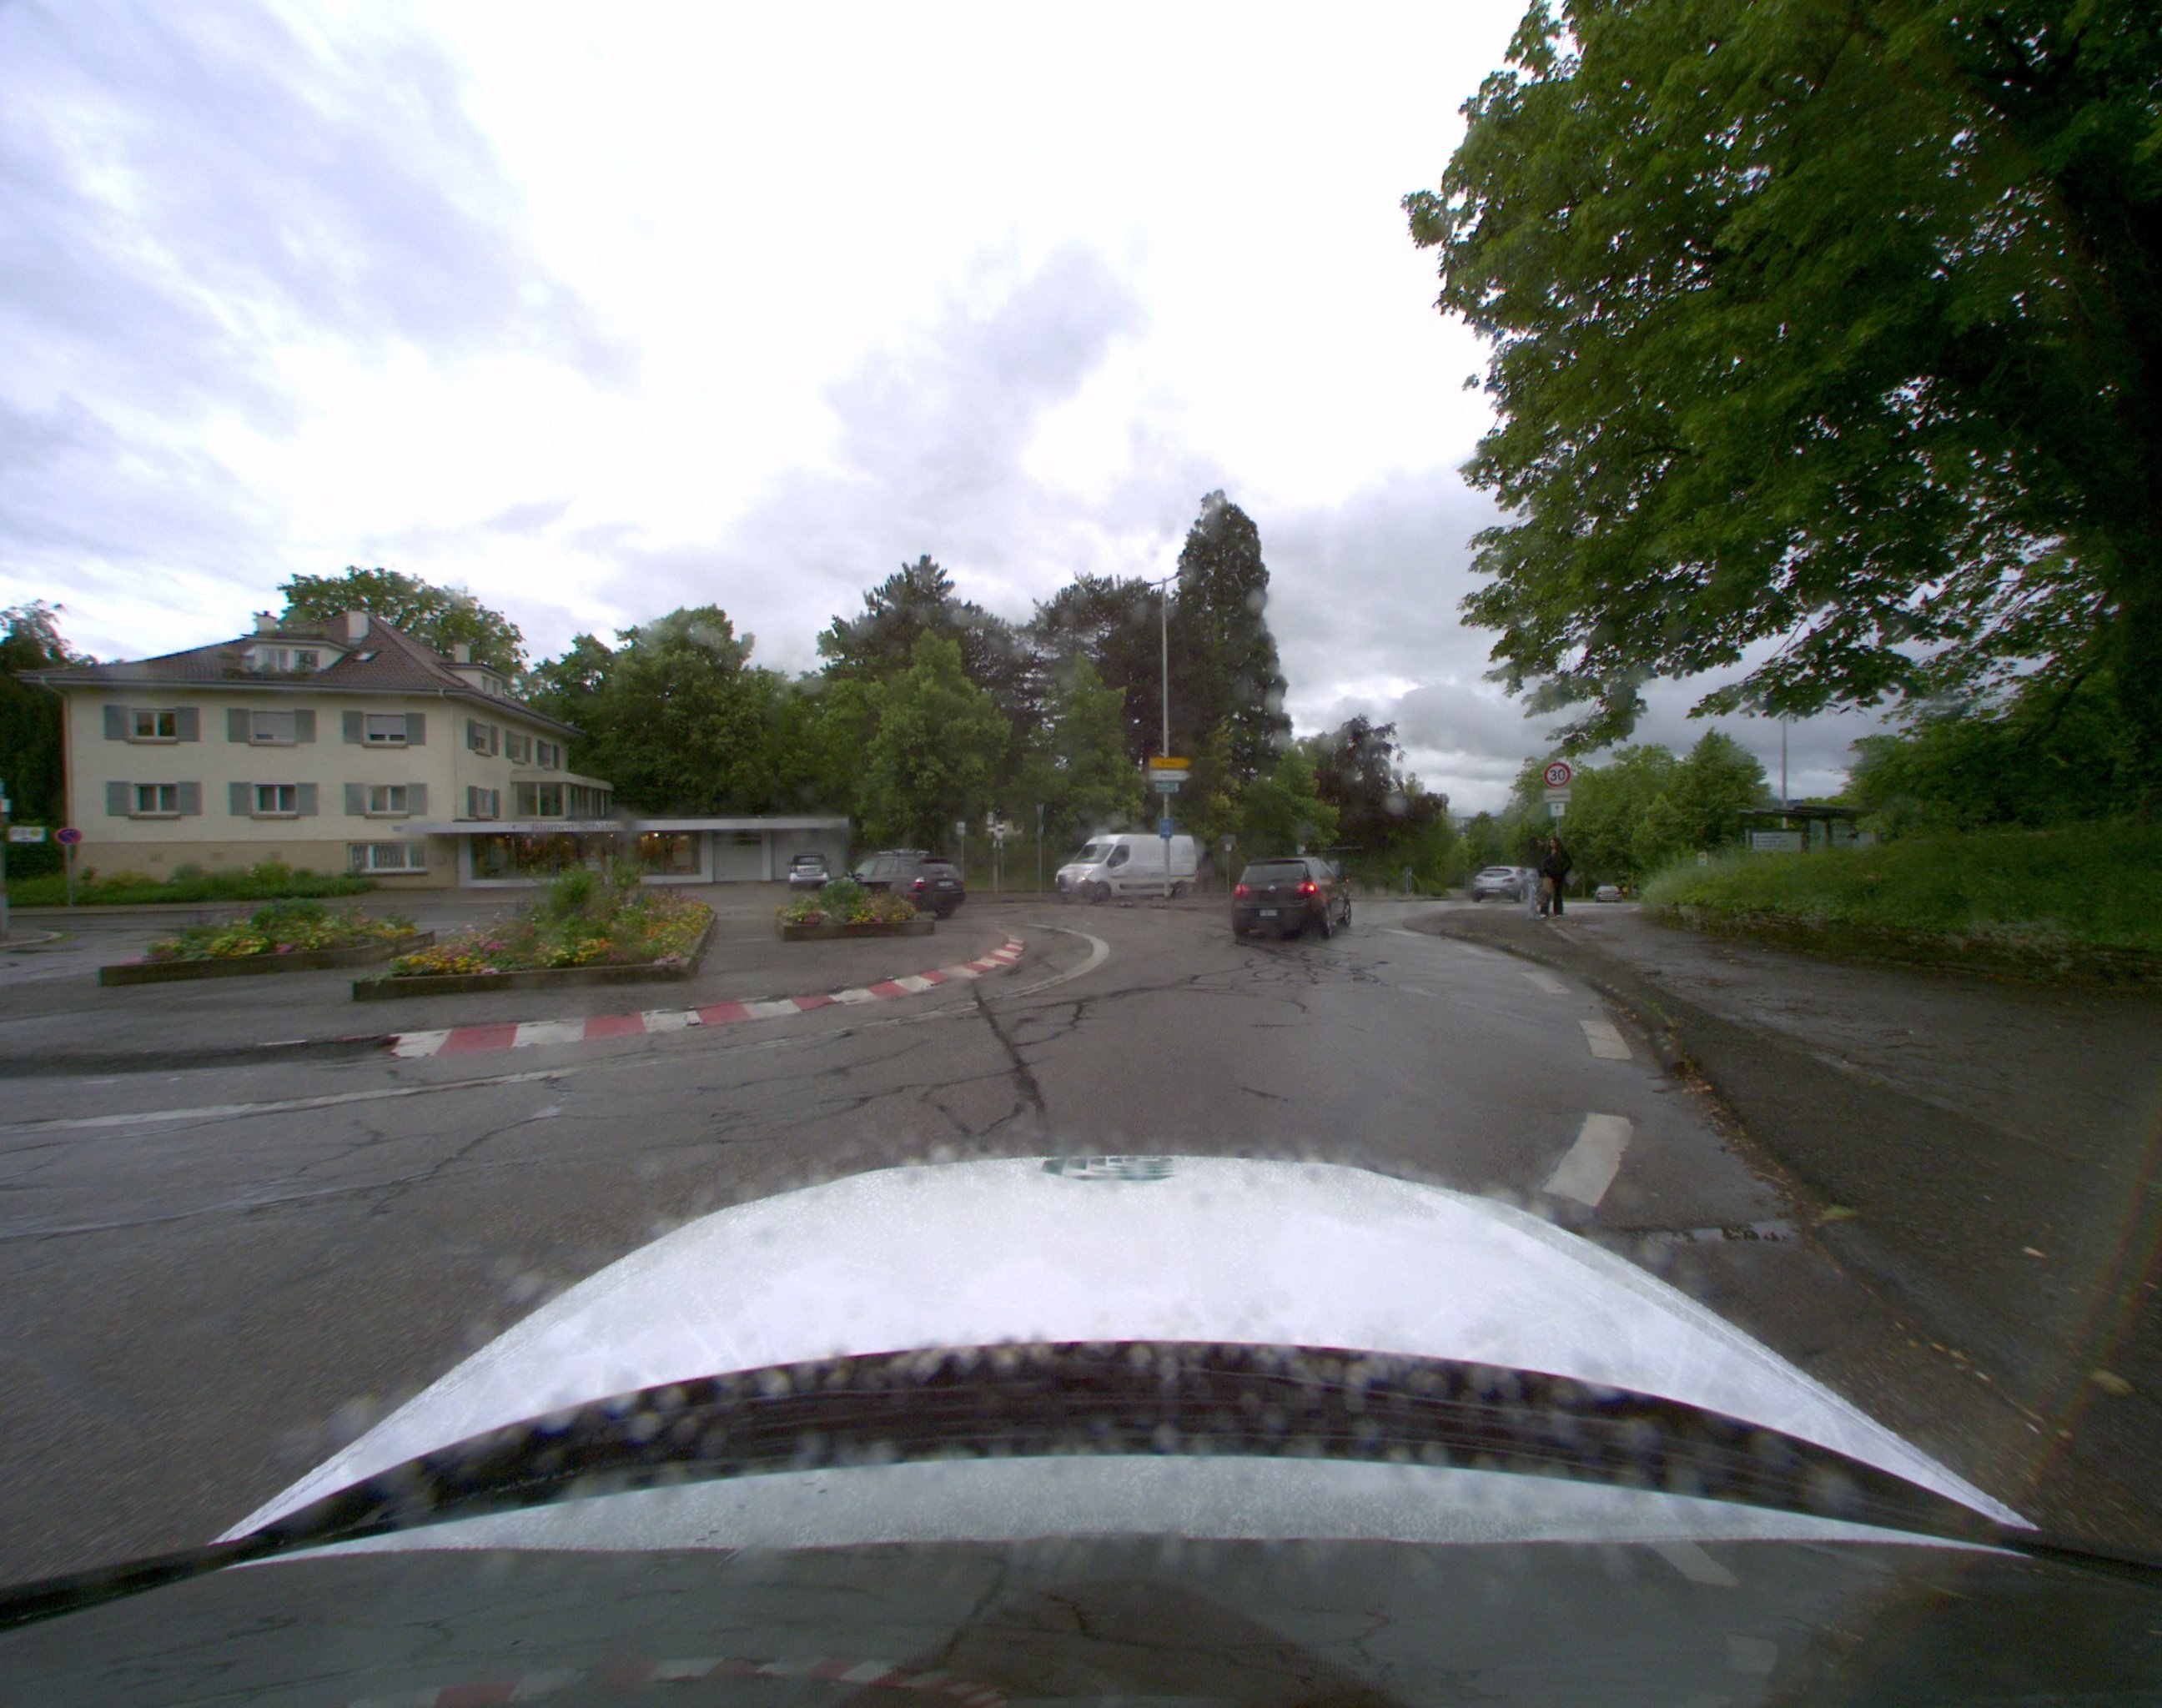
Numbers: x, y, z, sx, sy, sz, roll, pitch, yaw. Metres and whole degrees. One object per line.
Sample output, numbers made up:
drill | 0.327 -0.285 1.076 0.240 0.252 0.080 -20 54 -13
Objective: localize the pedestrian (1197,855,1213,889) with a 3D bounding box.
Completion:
pedestrian | 6.253 0.895 40.951 0.733 1.725 0.819 0 -1 12

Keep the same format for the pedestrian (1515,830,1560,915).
pedestrian | 9.406 0.368 16.788 0.530 1.713 0.631 1 -1 -23

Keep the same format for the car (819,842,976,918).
car | -4.929 0.687 21.608 4.191 1.801 1.782 -2 0 39

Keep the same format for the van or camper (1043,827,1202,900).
van or camper | 1.577 0.344 29.387 5.695 2.378 2.176 1 -1 -37

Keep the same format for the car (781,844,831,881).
car | -12.015 0.343 35.760 1.816 1.486 3.810 -2 1 -16

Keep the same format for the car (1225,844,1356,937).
car | 4.206 0.614 15.894 1.749 1.538 4.023 -1 0 25

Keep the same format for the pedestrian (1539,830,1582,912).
pedestrian | 10.184 0.365 17.325 0.630 1.713 0.531 0 -1 7

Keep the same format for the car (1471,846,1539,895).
car | 17.273 0.647 33.072 1.747 1.801 4.274 -2 0 36

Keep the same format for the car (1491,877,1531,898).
car | 31.061 2.453 58.742 1.890 1.393 4.543 0 -3 36

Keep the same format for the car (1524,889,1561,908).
car | 39.260 3.754 69.291 1.890 1.393 4.543 -1 -1 40

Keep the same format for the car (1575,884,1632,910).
car | 40.684 3.345 63.510 2.055 1.839 4.005 -1 -1 5
